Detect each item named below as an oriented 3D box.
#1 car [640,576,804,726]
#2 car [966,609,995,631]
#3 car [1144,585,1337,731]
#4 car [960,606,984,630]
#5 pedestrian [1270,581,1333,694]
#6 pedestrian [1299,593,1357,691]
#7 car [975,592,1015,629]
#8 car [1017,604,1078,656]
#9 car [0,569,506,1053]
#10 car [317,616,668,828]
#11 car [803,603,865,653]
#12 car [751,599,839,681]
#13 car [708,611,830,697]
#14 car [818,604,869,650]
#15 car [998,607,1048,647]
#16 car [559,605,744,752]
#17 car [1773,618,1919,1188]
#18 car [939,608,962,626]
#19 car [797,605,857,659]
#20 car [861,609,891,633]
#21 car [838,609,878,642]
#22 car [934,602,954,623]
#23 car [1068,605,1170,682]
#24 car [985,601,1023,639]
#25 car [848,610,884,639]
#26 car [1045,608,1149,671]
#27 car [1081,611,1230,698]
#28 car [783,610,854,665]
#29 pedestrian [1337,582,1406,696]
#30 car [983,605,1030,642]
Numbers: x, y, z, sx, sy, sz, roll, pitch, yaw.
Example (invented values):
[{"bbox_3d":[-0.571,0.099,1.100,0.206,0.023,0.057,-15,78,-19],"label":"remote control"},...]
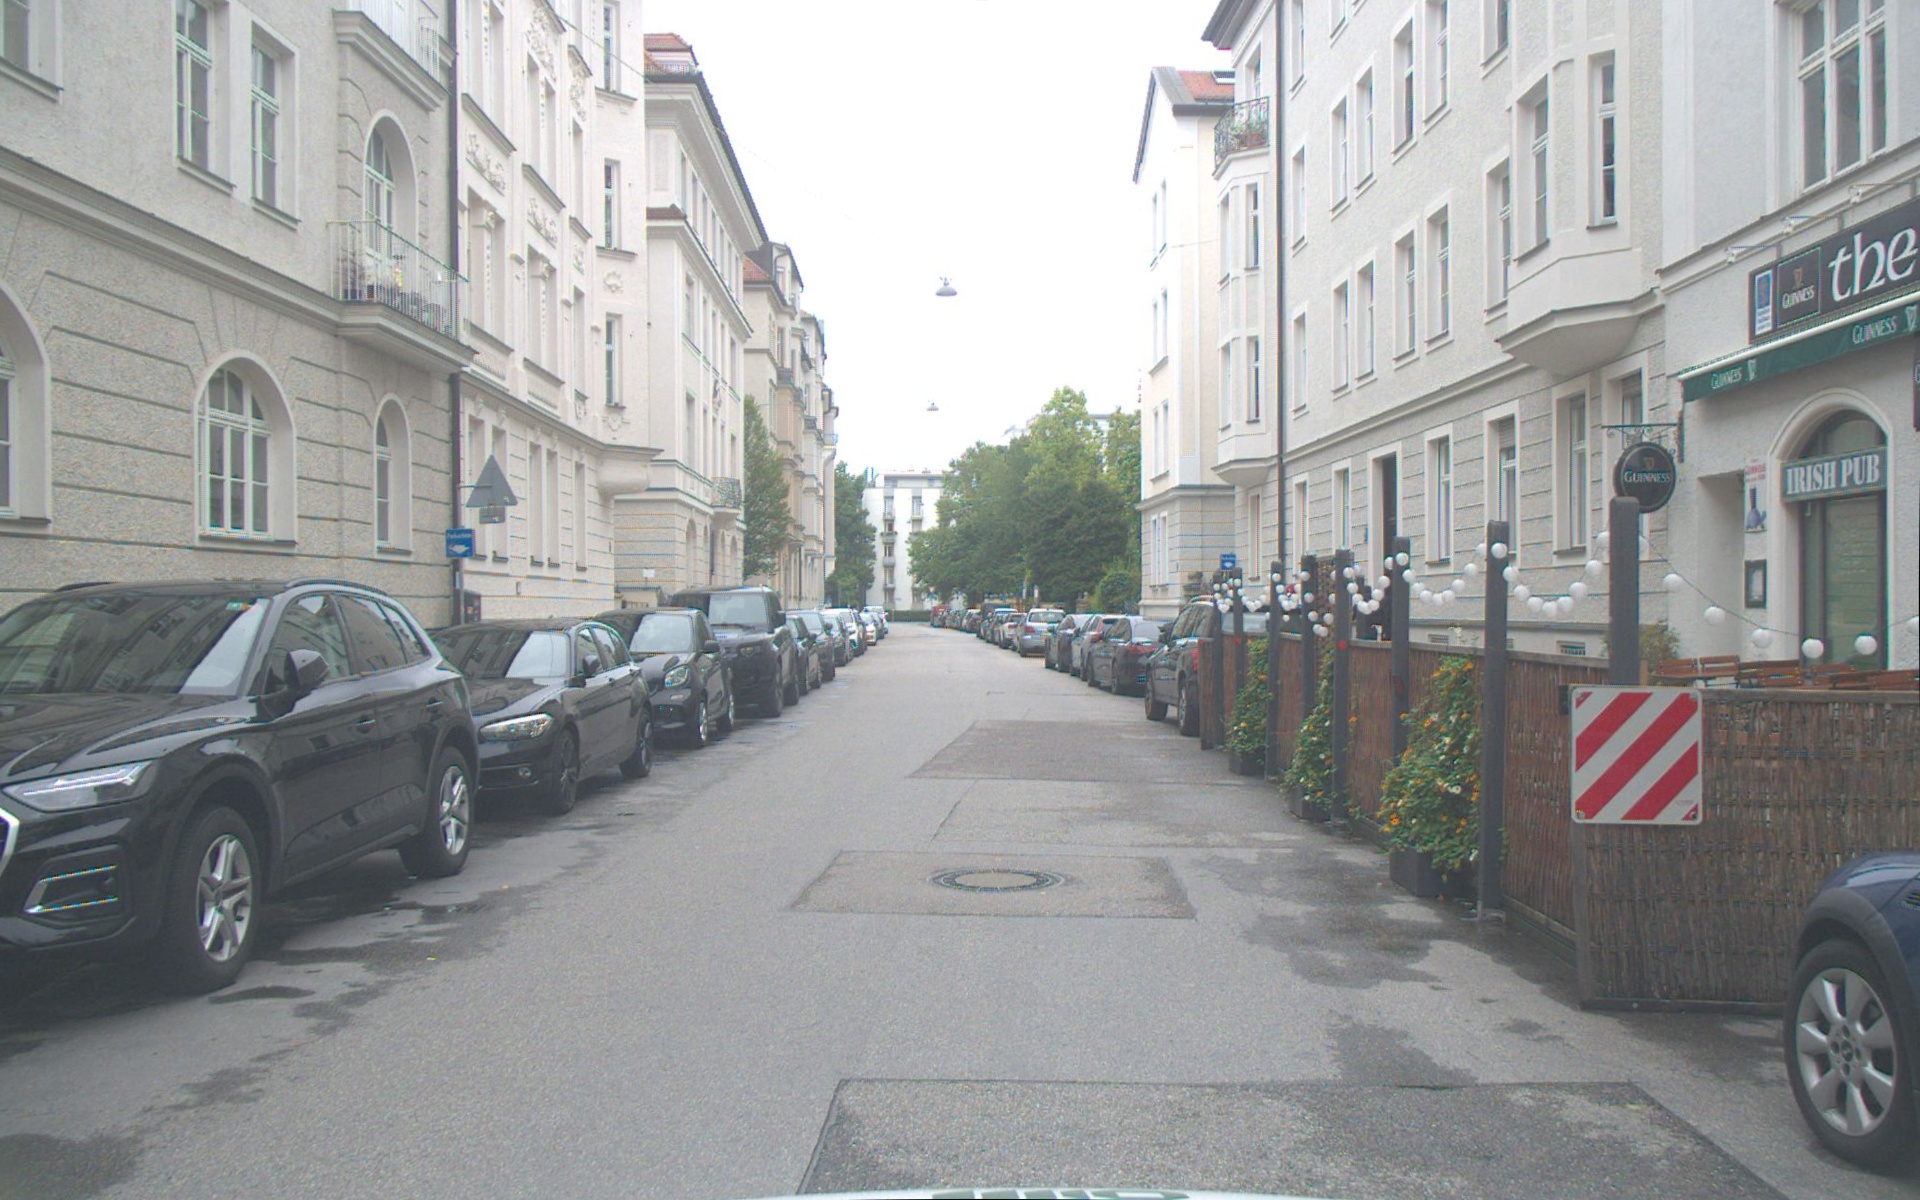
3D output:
[{"bbox_3d":[-3.389,0.670,24.412,1.799,1.927,4.761,-2,0,-2],"label":"car"},{"bbox_3d":[1.358,1.350,112.036,1.801,1.438,4.340,1,-1,-2],"label":"car"},{"bbox_3d":[3.533,0.684,21.523,1.763,1.704,4.188,0,0,-1],"label":"car"},{"bbox_3d":[0.879,1.316,121.808,1.484,1.690,3.671,1,-1,-4],"label":"car"},{"bbox_3d":[5.645,0.607,27.398,0.865,1.843,1.111,0,0,2],"label":"pedestrian"},{"bbox_3d":[7.109,0.798,32.026,0.865,1.845,1.111,0,0,-1],"label":"pedestrian"},{"bbox_3d":[1.955,0.570,93.632,1.911,1.988,4.664,1,1,-2],"label":"car"},{"bbox_3d":[2.917,0.988,55.953,1.785,1.596,4.400,2,0,0],"label":"car"},{"bbox_3d":[-3.723,0.708,7.795,1.837,1.627,4.434,0,0,1],"label":"car"},{"bbox_3d":[-3.649,0.877,13.681,1.620,1.431,4.092,-2,0,1],"label":"car"},{"bbox_3d":[-4.356,0.932,57.671,1.876,1.647,4.570,0,0,-1],"label":"car"},{"bbox_3d":[-3.577,0.848,36.497,1.692,1.647,4.118,-2,0,-3],"label":"car"},{"bbox_3d":[-3.522,0.962,31.248,1.799,1.418,4.244,-2,0,-1],"label":"car"},{"bbox_3d":[-4.413,0.995,63.098,1.799,1.647,4.243,0,0,-2],"label":"car"},{"bbox_3d":[2.532,1.065,66.837,1.748,1.531,4.063,1,0,-2],"label":"car"},{"bbox_3d":[-3.541,0.848,19.536,1.583,1.539,3.530,-1,0,-2],"label":"car"},{"bbox_3d":[3.233,0.801,3.193,1.632,1.424,3.493,2,0,1],"label":"car"},{"bbox_3d":[-0.870,1.572,150.458,1.803,1.545,3.943,1,-1,-5],"label":"car"},{"bbox_3d":[-4.227,1.000,52.513,1.748,1.568,4.253,-2,0,-5],"label":"car"},{"bbox_3d":[-5.776,1.426,114.014,1.799,1.463,4.273,-3,0,-1],"label":"car"},{"bbox_3d":[-4.809,1.179,78.515,1.800,1.459,4.242,-2,0,-3],"label":"car"},{"bbox_3d":[-1.547,1.221,161.249,1.799,1.960,4.005,2,0,0],"label":"car"},{"bbox_3d":[3.472,0.911,36.825,1.725,1.511,4.419,2,0,-1],"label":"car"},{"bbox_3d":[2.221,1.012,84.218,1.688,1.800,4.412,2,-1,-1],"label":"car"},{"bbox_3d":[-5.263,1.361,93.187,1.799,1.461,4.243,-3,0,-1],"label":"car"},{"bbox_3d":[3.378,0.959,41.780,1.954,1.483,4.709,-1,0,-4],"label":"car"},{"bbox_3d":[3.593,0.963,31.230,1.800,1.424,4.969,1,0,-5],"label":"car"},{"bbox_3d":[-4.044,1.054,47.823,1.756,1.440,4.277,-3,0,-2],"label":"car"},{"bbox_3d":[6.698,0.619,26.970,0.865,1.818,1.111,0,0,1],"label":"pedestrian"},{"bbox_3d":[2.189,1.113,79.153,1.716,1.639,4.419,1,0,-5],"label":"car"}]
